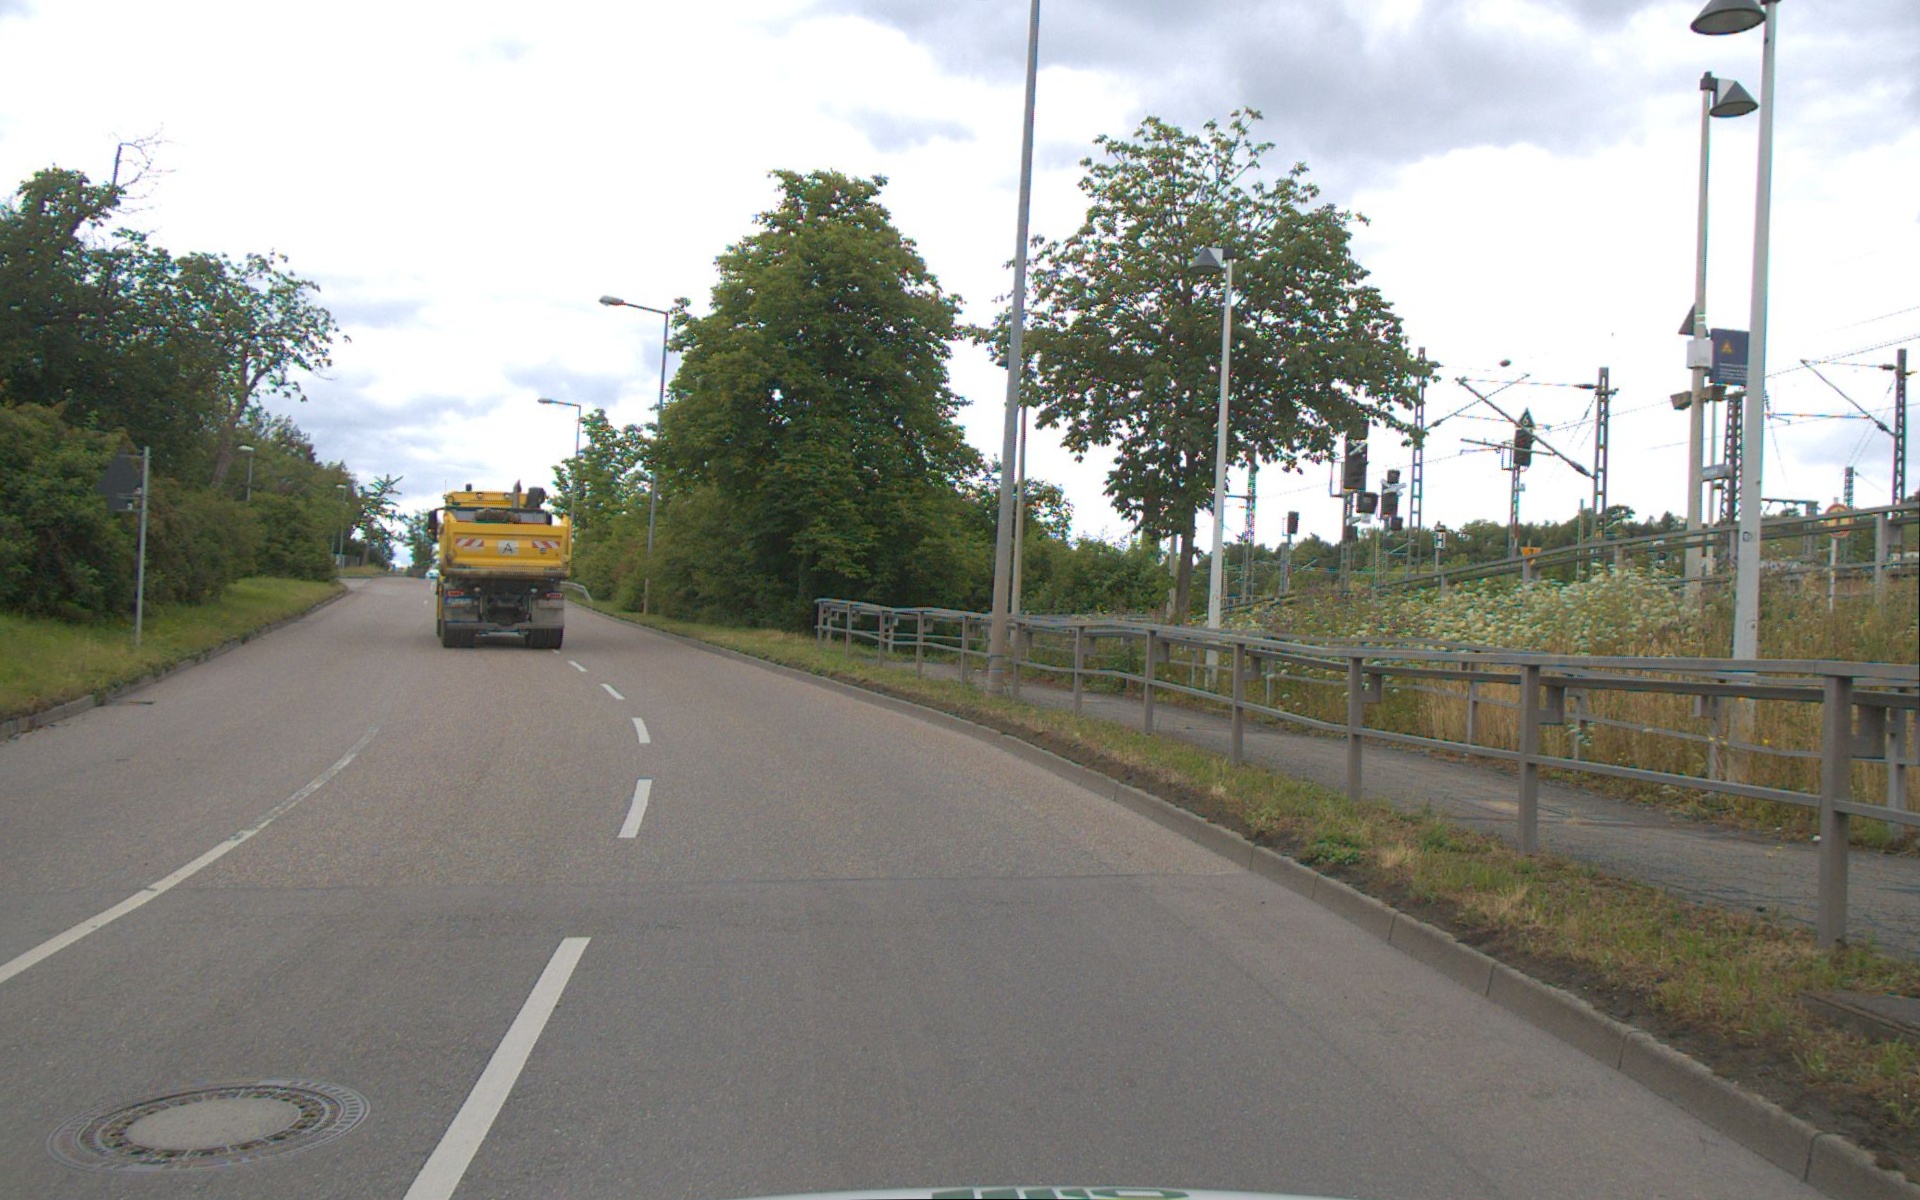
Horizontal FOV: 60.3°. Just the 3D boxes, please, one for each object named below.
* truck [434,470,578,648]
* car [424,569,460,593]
[{"bbox_3d":[-10.369,-0.886,37.221,2.722,3.544,8.088,1,1,-18],"label":"truck"},{"bbox_3d":[-39.465,-1.436,126.077,1.957,1.668,3.992,3,0,-9],"label":"car"}]
